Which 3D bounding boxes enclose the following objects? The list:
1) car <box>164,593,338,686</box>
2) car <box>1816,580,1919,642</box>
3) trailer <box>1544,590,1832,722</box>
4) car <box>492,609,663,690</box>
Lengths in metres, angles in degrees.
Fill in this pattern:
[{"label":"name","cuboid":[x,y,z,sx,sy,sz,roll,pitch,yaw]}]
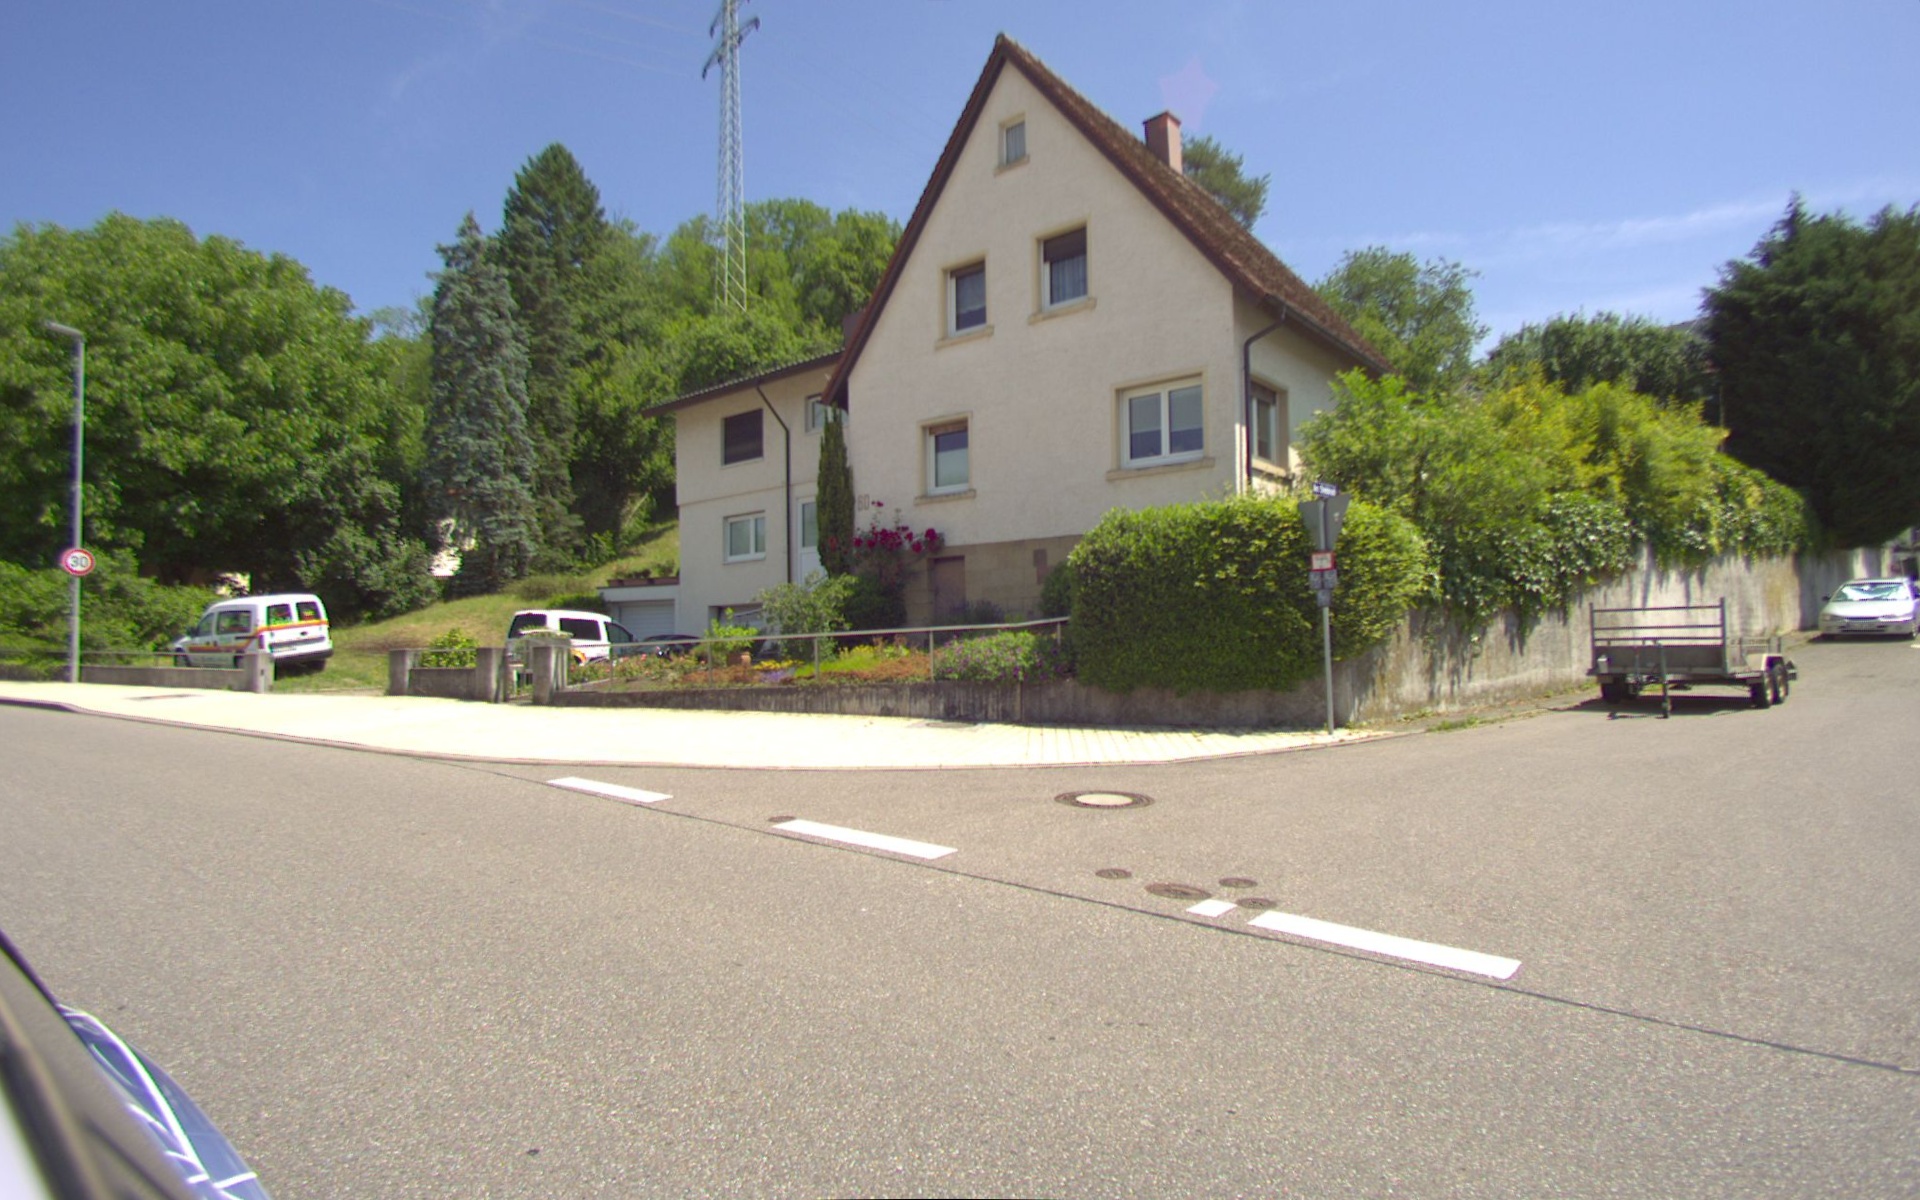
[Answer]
[{"label":"car","cuboid":[-16.228,0.893,23.136,3.982,1.964,1.688,-1,-2,29]},{"label":"car","cuboid":[21.417,0.224,23.539,3.721,1.200,1.751,-4,1,-41]},{"label":"trailer","cuboid":[10.328,0.675,14.202,4.998,1.517,2.004,-1,-2,-39]},{"label":"car","cuboid":[-9.597,1.286,25.691,1.800,1.803,3.967,-5,-5,24]}]
